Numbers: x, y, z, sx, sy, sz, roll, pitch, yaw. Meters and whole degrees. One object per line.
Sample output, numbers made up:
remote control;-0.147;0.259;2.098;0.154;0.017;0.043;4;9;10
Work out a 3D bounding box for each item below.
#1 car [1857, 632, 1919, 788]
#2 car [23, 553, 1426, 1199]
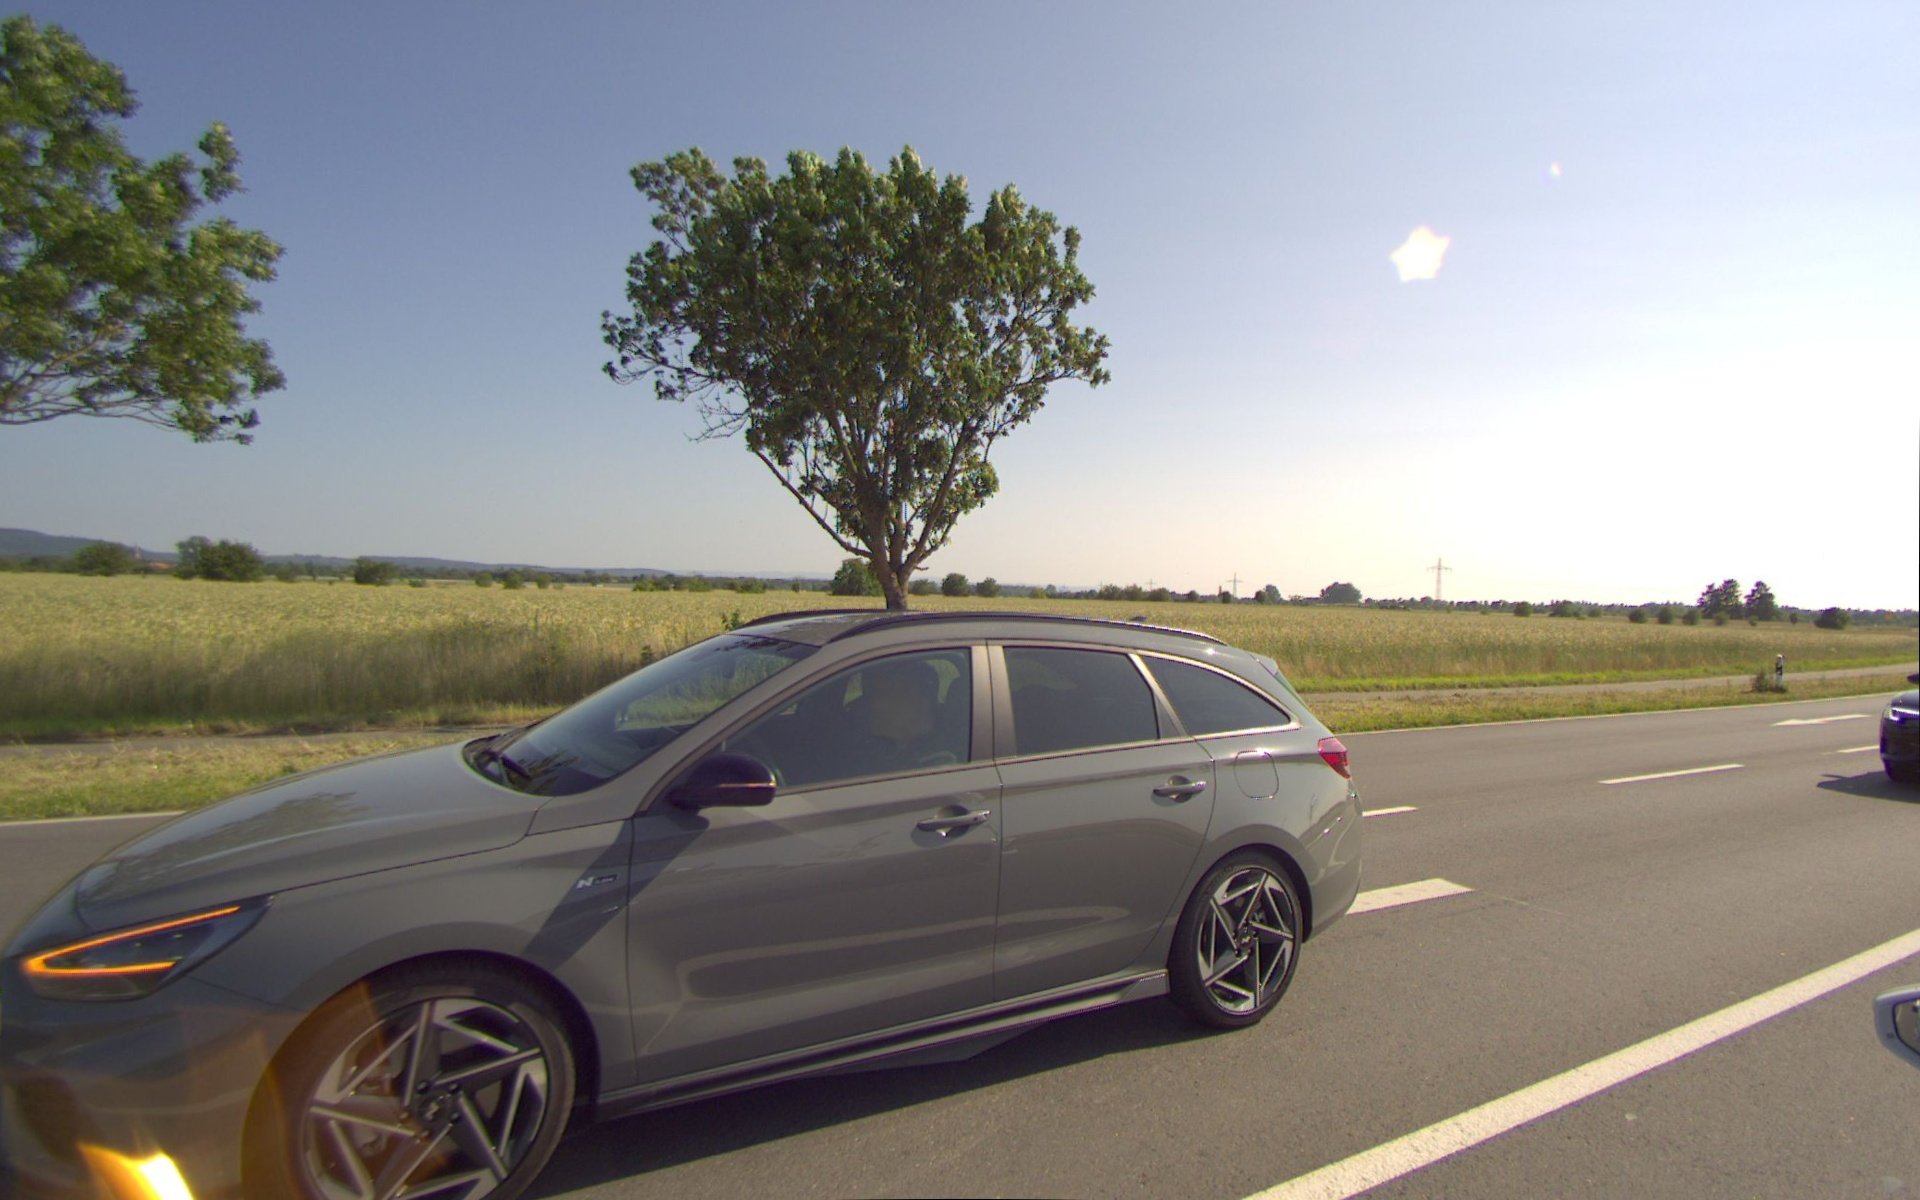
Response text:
car;11.262;1.119;10.400;4.748;1.455;1.878;2;-1;-35
car;-0.401;0.722;3.812;4.256;1.480;1.881;2;-1;-31
